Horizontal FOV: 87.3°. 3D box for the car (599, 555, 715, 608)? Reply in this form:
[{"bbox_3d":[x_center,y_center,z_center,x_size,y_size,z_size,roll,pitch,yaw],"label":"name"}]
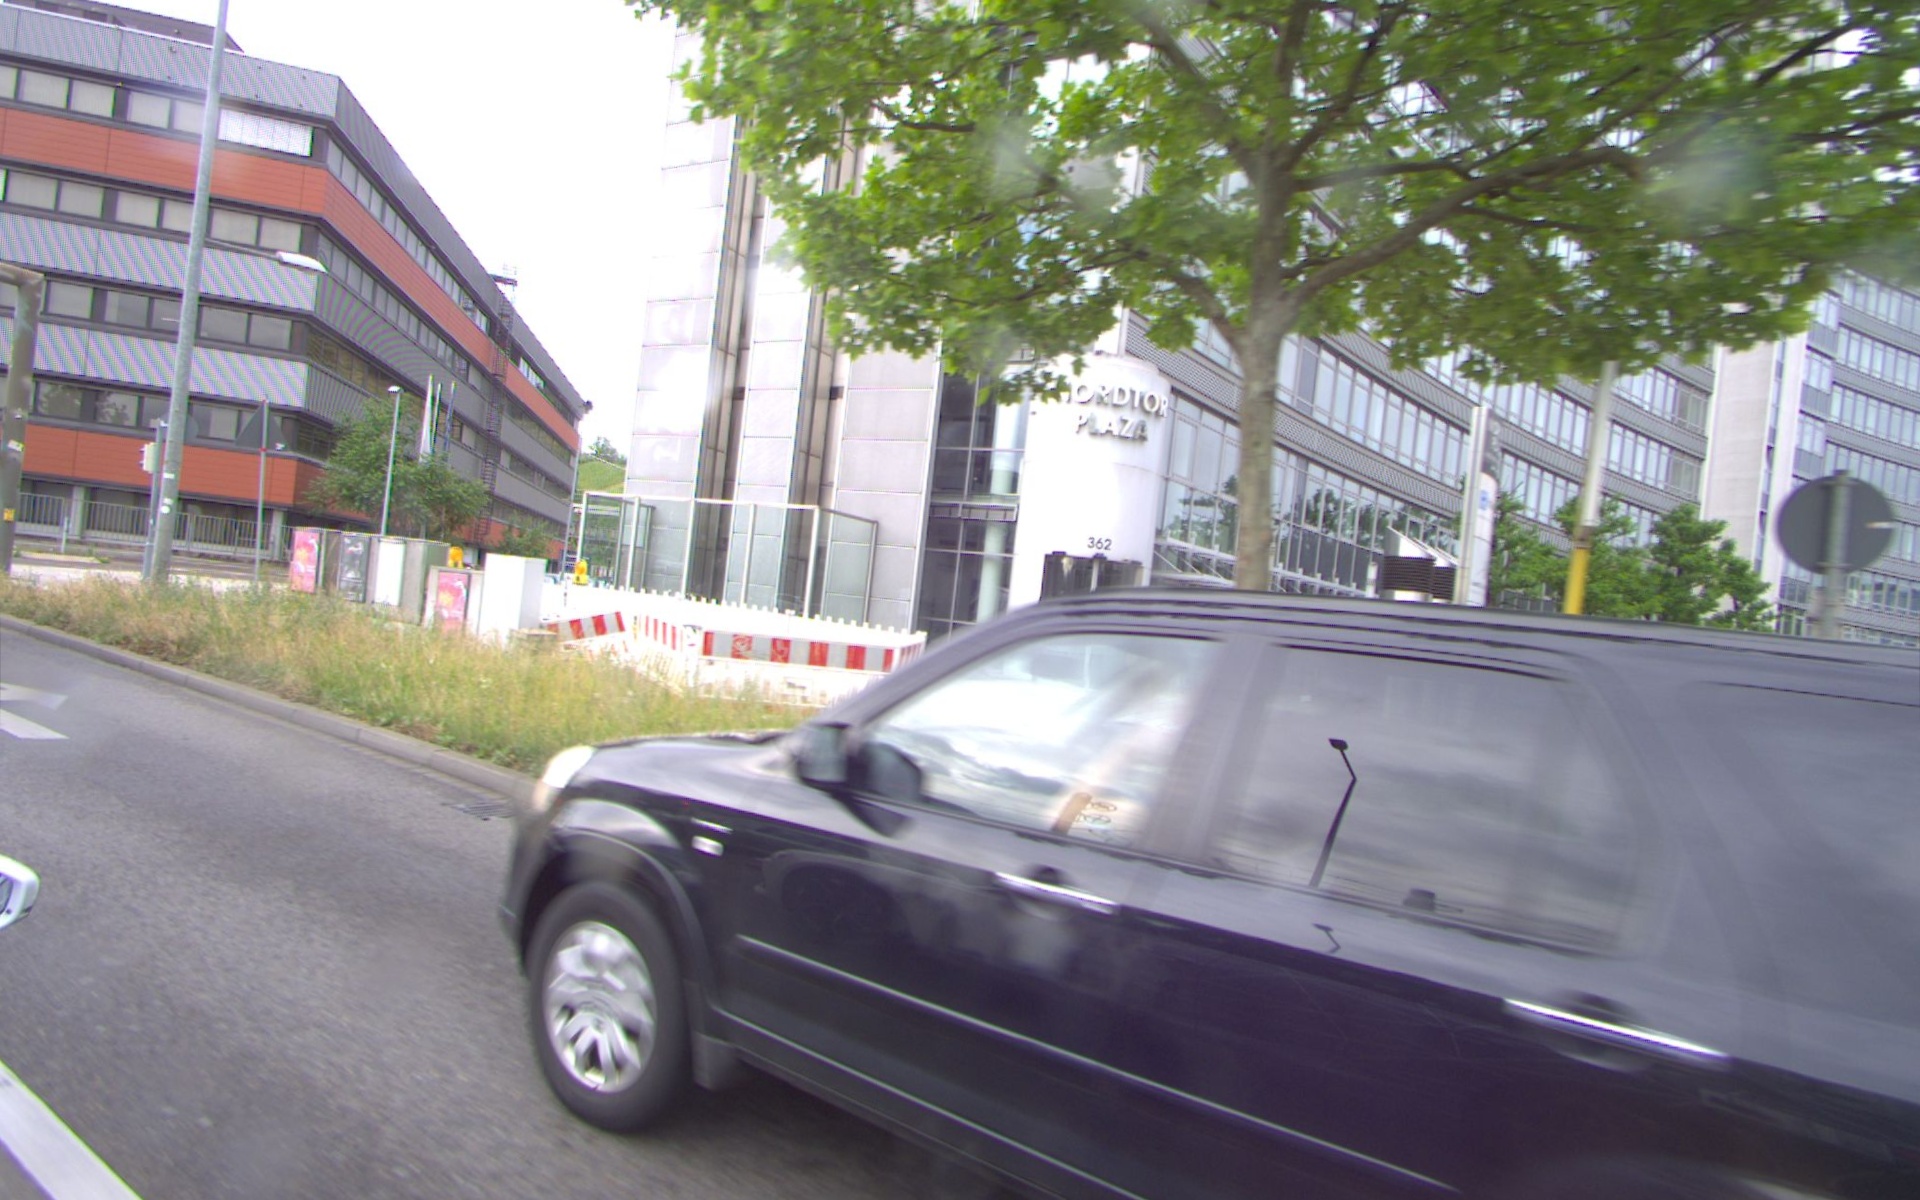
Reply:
[{"bbox_3d":[-14.863,-0.878,49.585,1.972,1.937,5.062,4,-3,41],"label":"car"}]

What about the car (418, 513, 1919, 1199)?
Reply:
[{"bbox_3d":[0.698,0.830,2.714,4.253,1.648,1.770,6,-3,32],"label":"car"}]

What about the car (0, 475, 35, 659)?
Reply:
[{"bbox_3d":[-10.876,-0.522,9.547,3.932,1.675,1.833,5,-2,29],"label":"car"}]
